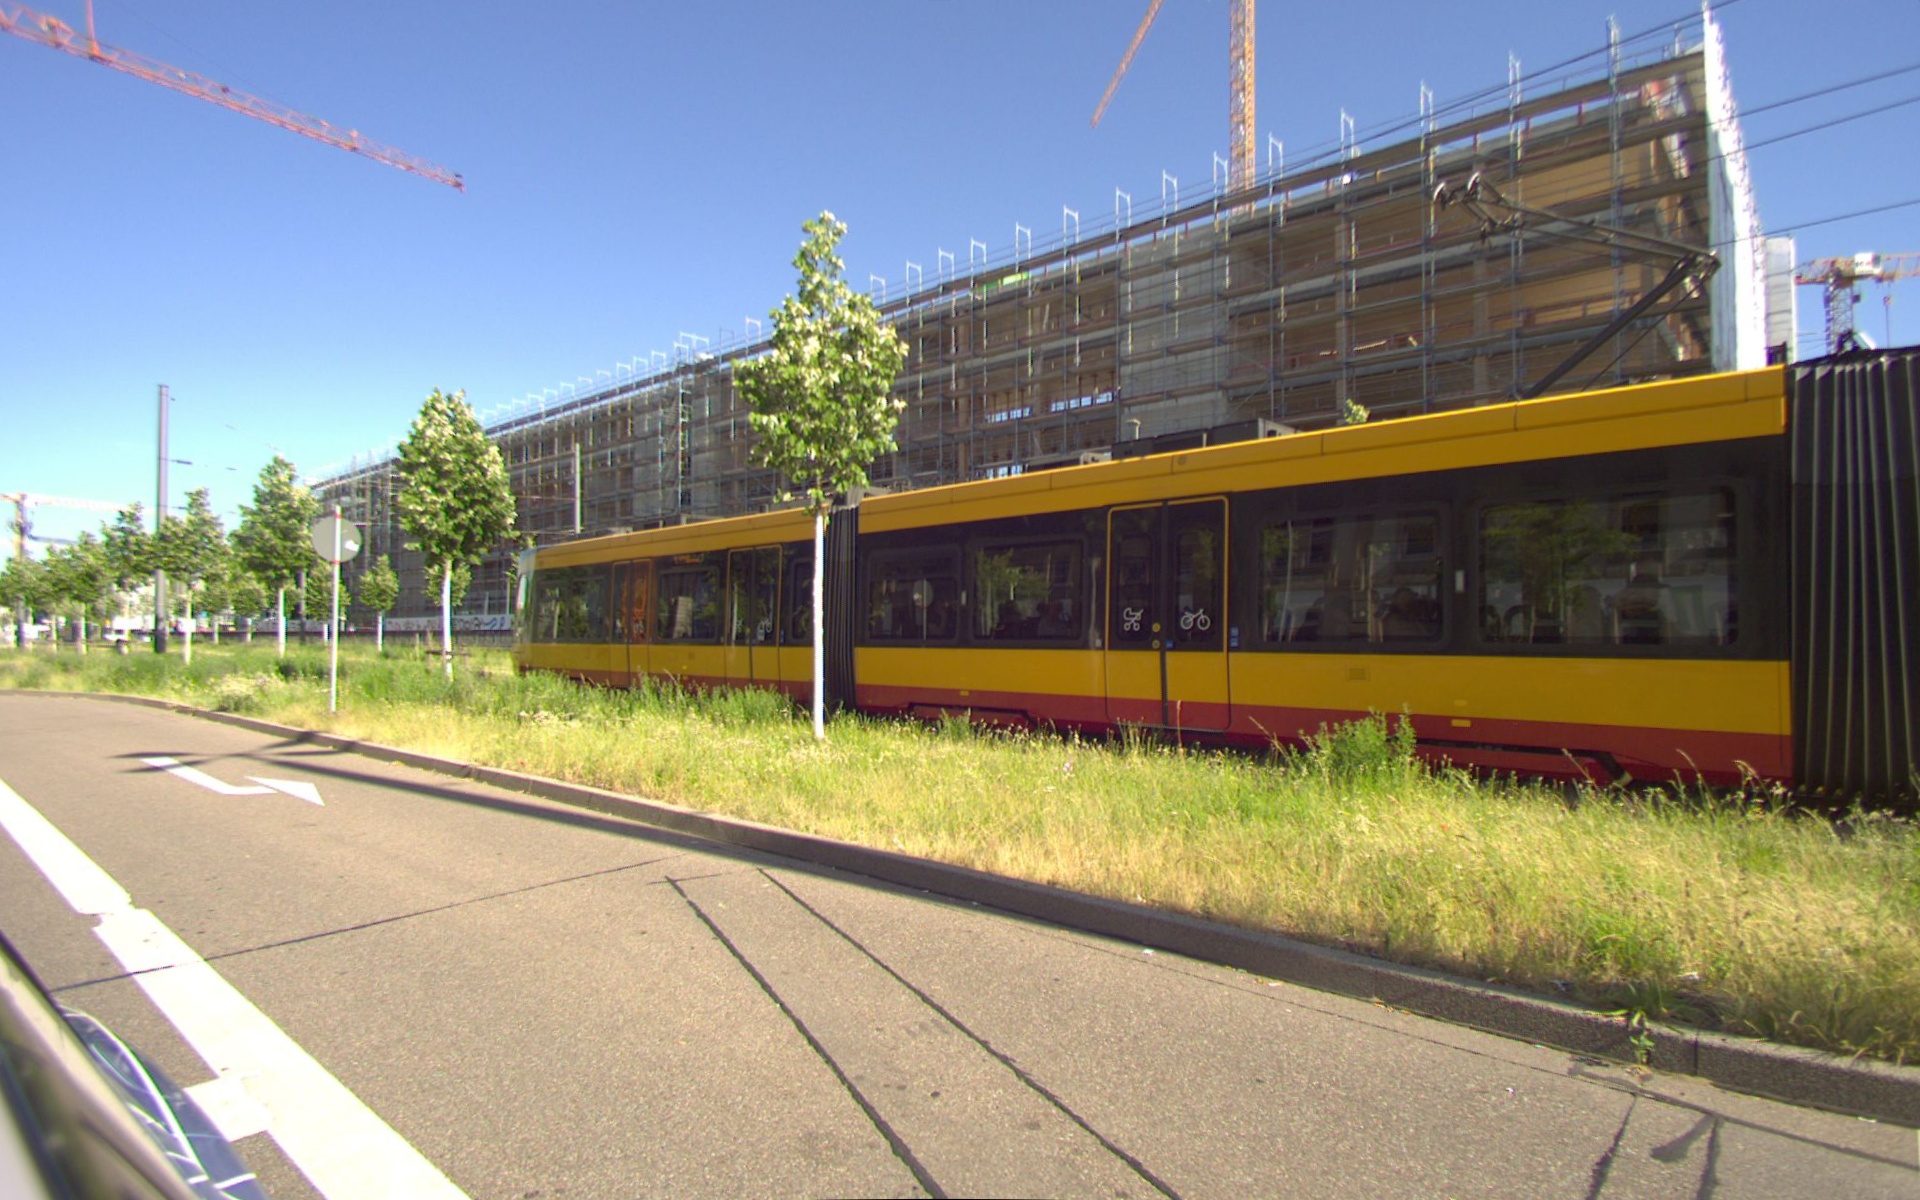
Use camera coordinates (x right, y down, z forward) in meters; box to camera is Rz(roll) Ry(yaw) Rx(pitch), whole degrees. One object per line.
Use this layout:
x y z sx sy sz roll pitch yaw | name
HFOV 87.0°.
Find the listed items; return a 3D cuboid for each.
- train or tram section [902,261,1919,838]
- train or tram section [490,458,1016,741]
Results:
3.985 -0.219 10.010 11.320 3.697 1.971 -2 -2 45 | train or tram section
-4.967 0.168 18.858 14.156 3.697 1.971 -2 -2 44 | train or tram section
